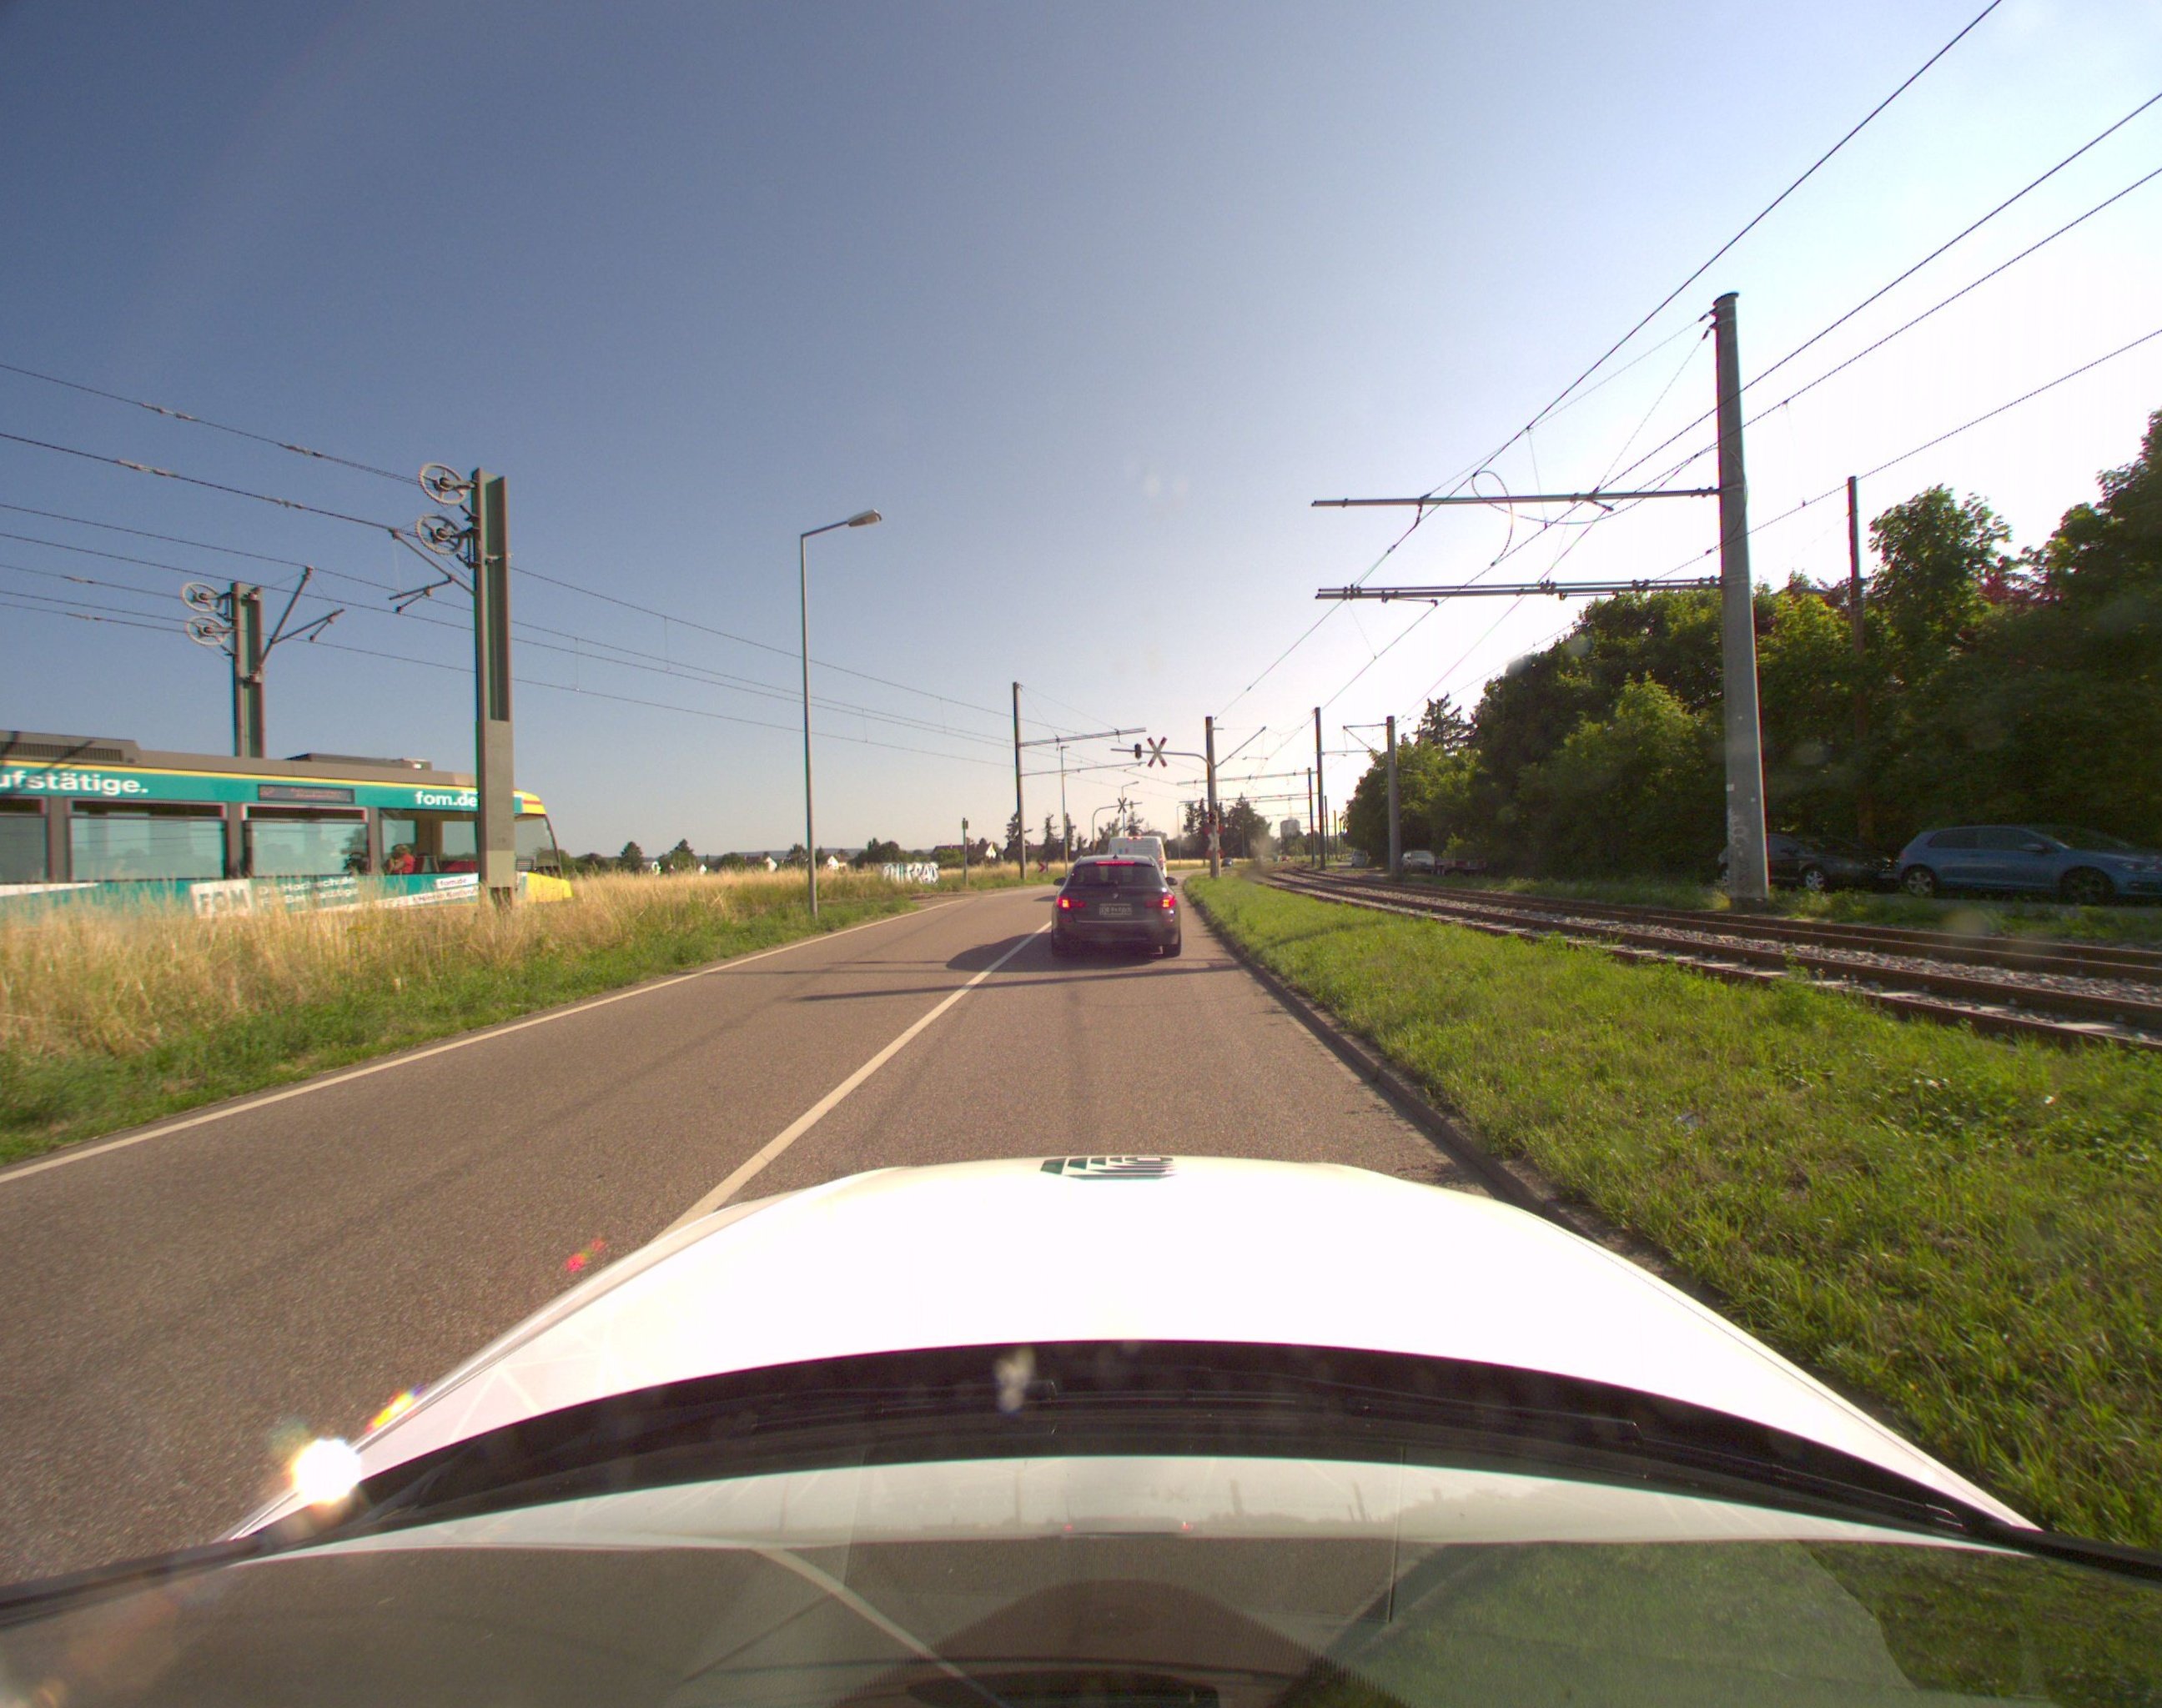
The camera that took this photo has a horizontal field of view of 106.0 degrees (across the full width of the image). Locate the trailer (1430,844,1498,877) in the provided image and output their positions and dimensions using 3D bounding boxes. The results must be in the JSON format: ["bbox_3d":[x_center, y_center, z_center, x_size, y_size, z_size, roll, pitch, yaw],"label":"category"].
[{"bbox_3d":[19.339,0.327,41.320,2.014,1.596,4.270,1,0,9],"label":"trailer"}]

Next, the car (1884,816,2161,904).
[{"bbox_3d":[17.675,0.091,15.060,1.480,1.401,4.147,-2,-1,-1],"label":"car"}]

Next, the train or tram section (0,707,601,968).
[{"bbox_3d":[-15.544,-0.175,12.764,2.879,3.569,14.345,-1,-2,28],"label":"train or tram section"}]

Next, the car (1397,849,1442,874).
[{"bbox_3d":[20.747,0.418,50.039,1.687,1.456,4.897,1,0,12],"label":"car"}]

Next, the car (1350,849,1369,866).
[{"bbox_3d":[33.318,0.431,97.497,1.978,2.004,5.090,1,0,18],"label":"car"}]

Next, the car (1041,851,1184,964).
[{"bbox_3d":[0.521,0.702,13.132,1.861,1.452,4.746,-1,0,2],"label":"car"}]

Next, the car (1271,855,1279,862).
[{"bbox_3d":[48.215,1.060,202.379,1.692,1.665,4.611,-1,0,18],"label":"car"}]

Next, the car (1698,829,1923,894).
[{"bbox_3d":[17.813,0.178,20.230,1.616,1.410,4.522,0,0,1],"label":"car"}]

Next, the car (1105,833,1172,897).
[{"bbox_3d":[2.083,0.353,27.999,1.847,1.988,5.120,-1,0,8],"label":"car"}]

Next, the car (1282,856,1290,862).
[{"bbox_3d":[55.628,1.479,220.878,1.698,1.549,3.948,-2,0,21],"label":"car"}]

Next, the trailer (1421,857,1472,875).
[{"bbox_3d":[20.238,0.648,45.280,1.721,0.939,3.738,1,0,10],"label":"trailer"}]
